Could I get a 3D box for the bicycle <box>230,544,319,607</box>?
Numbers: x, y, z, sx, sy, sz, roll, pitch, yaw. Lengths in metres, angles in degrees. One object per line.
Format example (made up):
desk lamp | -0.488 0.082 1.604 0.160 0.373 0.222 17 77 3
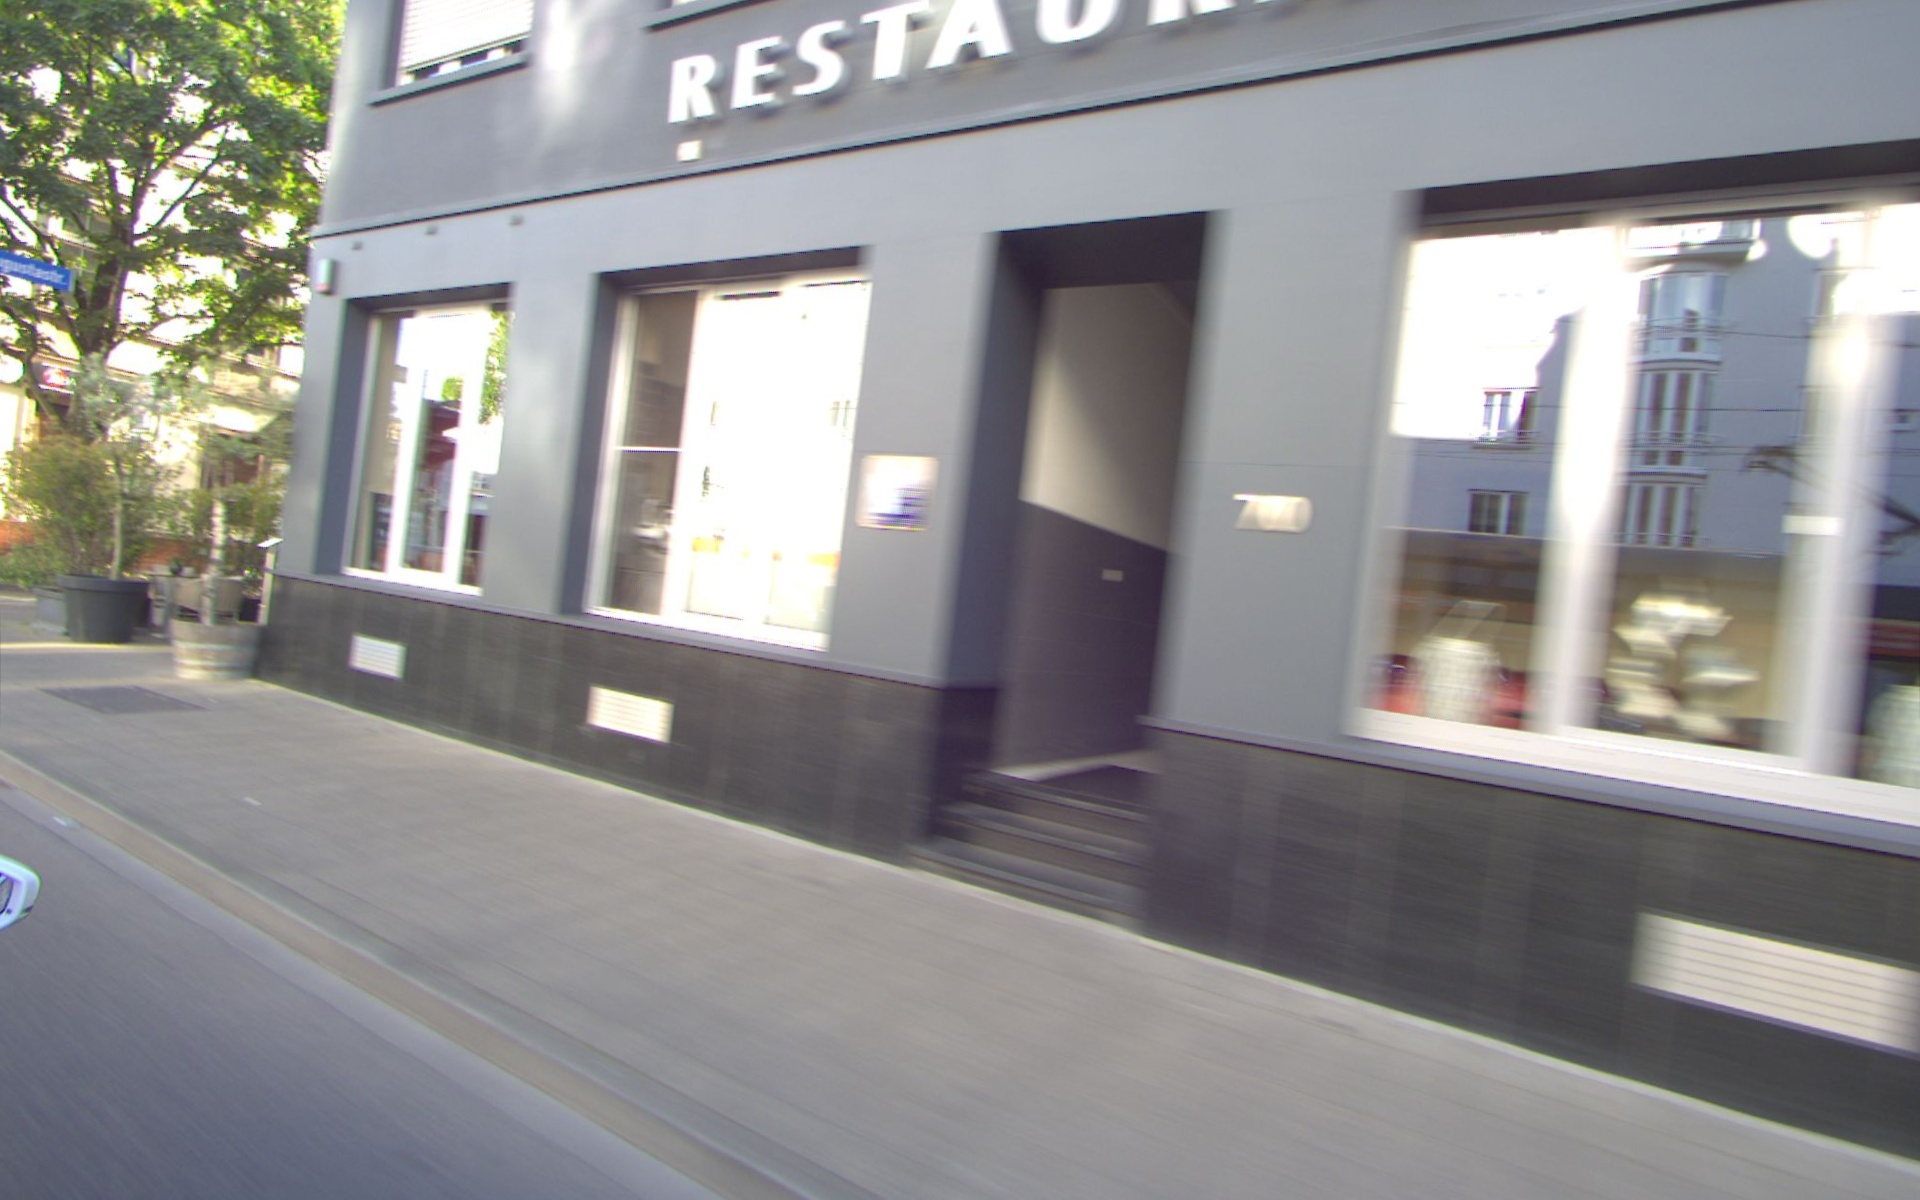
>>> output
bicycle | -13.313 -0.466 19.545 1.315 1.027 0.453 7 1 -40
